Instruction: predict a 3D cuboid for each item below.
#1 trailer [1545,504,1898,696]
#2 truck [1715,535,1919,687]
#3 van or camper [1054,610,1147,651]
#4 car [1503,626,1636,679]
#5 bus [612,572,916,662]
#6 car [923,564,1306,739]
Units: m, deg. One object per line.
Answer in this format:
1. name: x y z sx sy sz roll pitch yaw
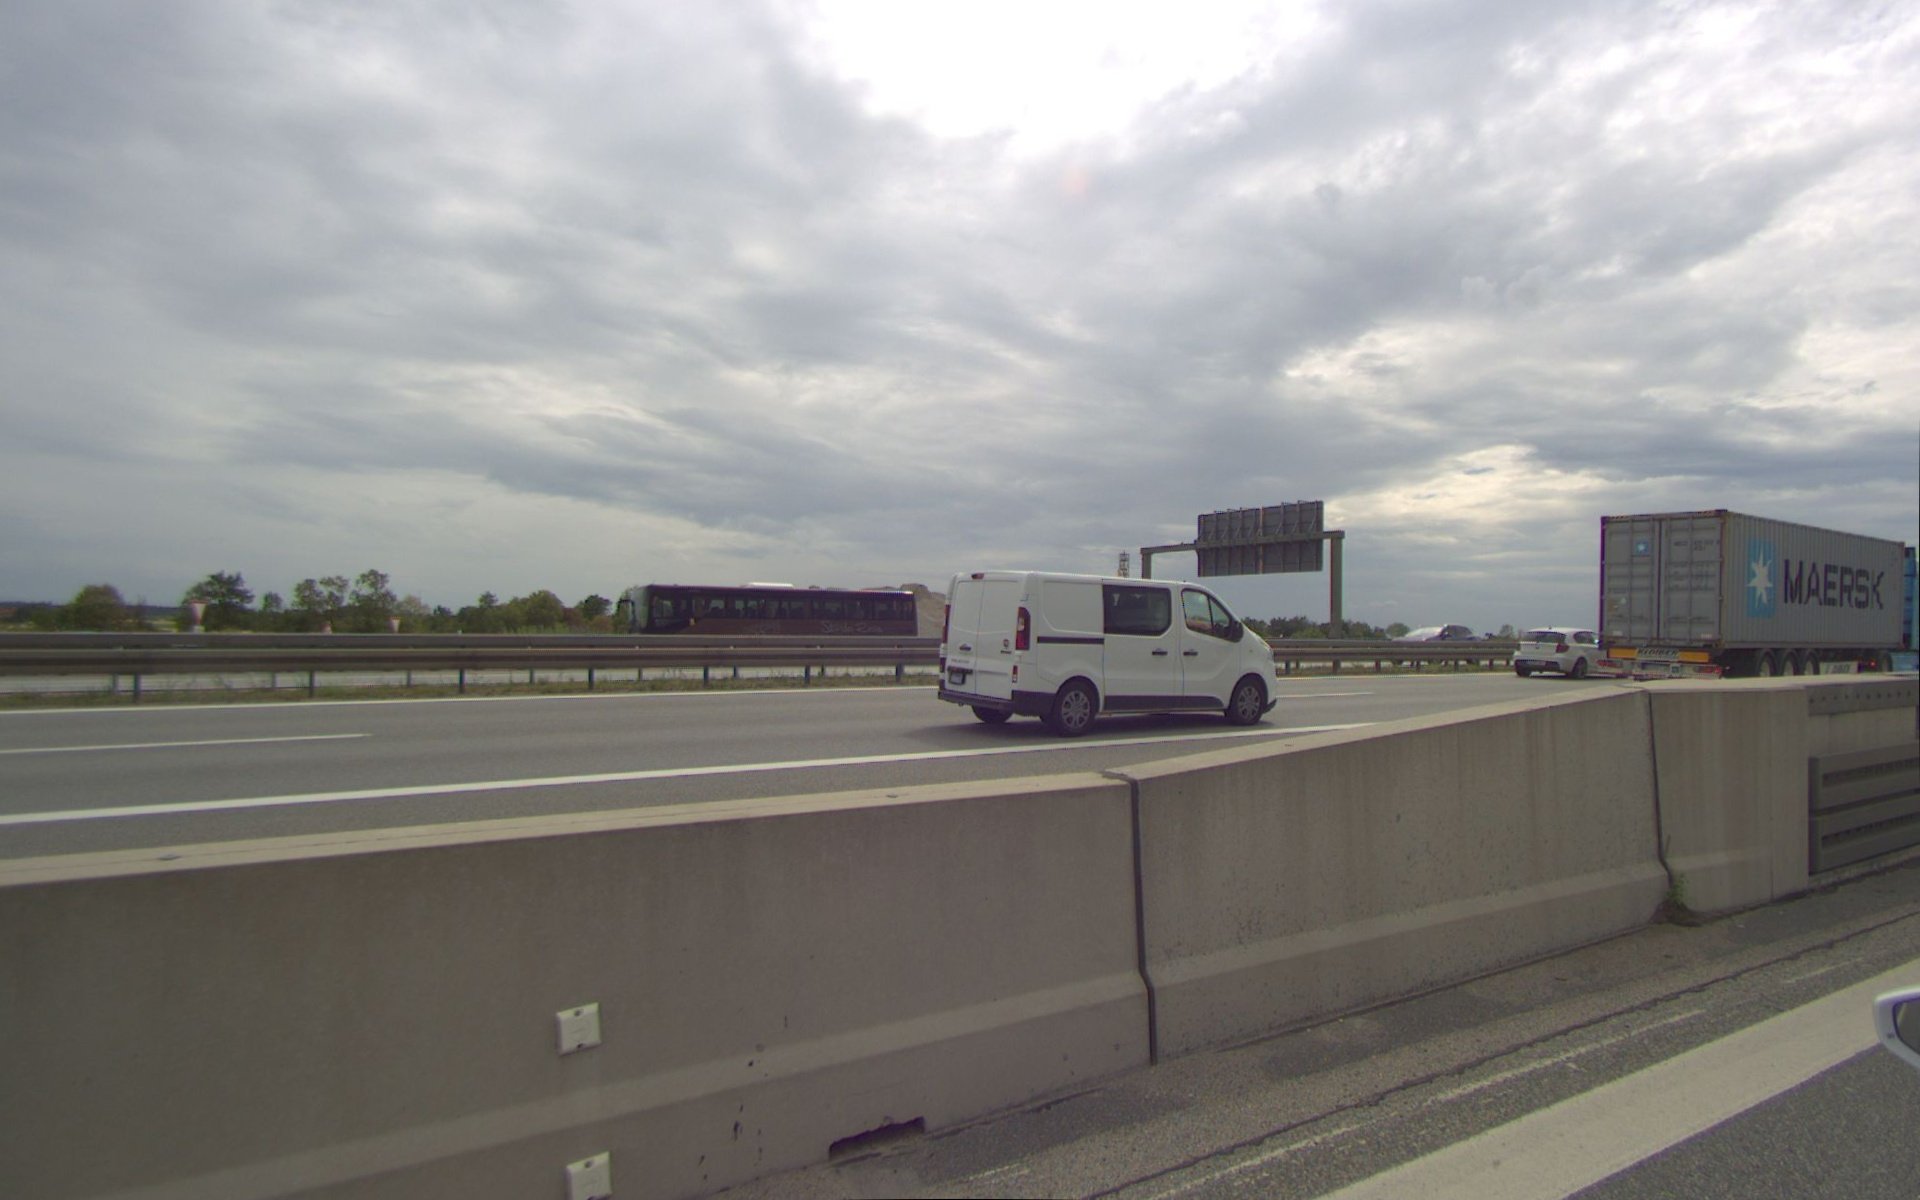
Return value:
1. trailer: 19.730 0.163 25.556 12.249 3.976 3.217 2 0 -34
2. truck: 25.372 0.357 29.297 6.537 3.963 3.229 2 0 -32
3. van or camper: 7.559 1.636 53.889 4.833 2.040 1.981 2 0 -34
4. car: 17.634 1.487 29.018 4.163 1.387 1.741 2 -1 -35
5. bus: -8.230 0.808 44.026 12.858 3.488 3.194 2 0 -34
6. car: 2.190 0.651 13.504 5.078 1.963 1.987 2 -1 -34
